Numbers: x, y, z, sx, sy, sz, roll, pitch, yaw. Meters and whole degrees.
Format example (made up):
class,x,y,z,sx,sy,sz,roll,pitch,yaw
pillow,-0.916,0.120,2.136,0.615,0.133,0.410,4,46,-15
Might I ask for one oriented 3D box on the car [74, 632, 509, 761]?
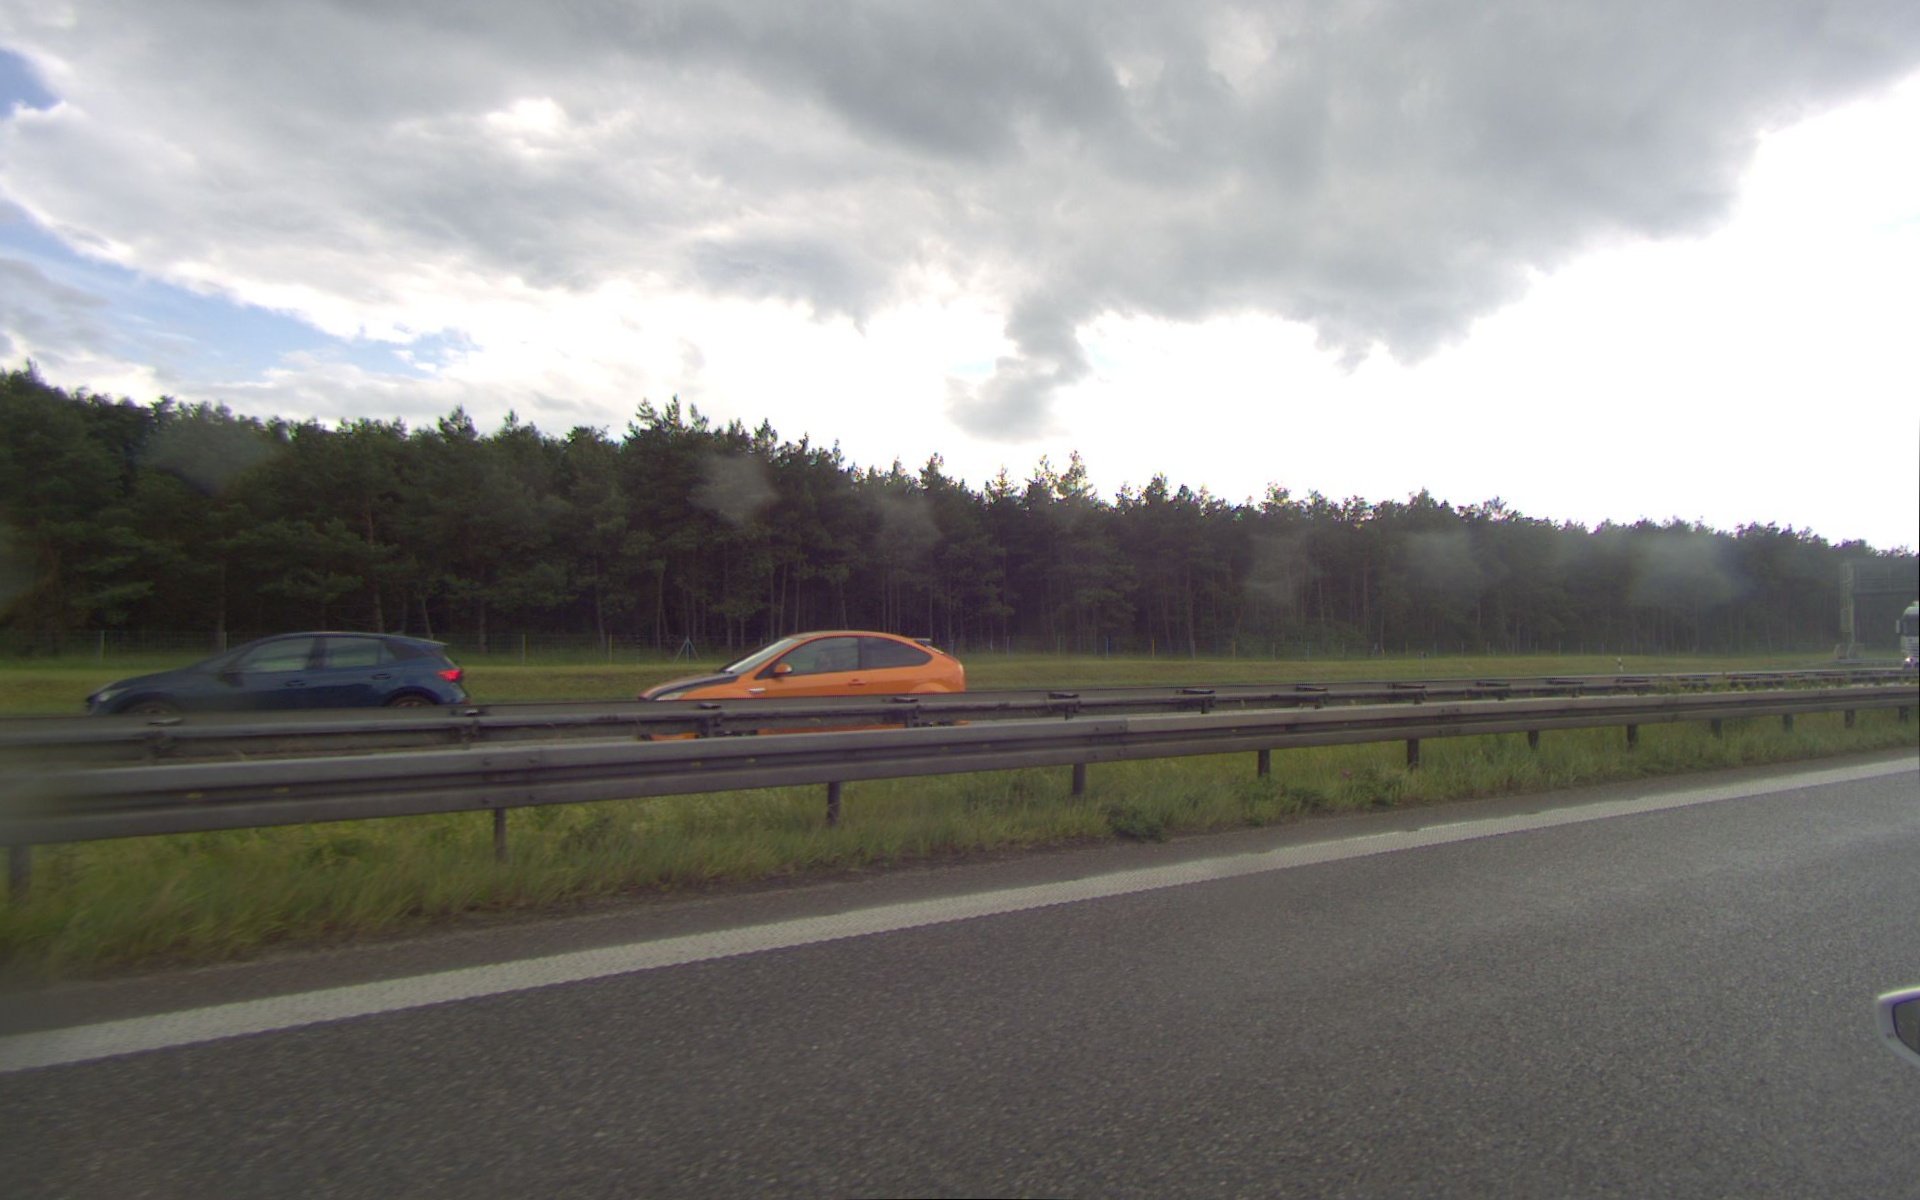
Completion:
class,x,y,z,sx,sy,sz,roll,pitch,yaw
car,-8.726,1.193,13.625,4.597,1.475,1.907,1,-2,-30

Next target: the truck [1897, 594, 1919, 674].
class,x,y,z,sx,sy,sz,roll,pitch,yaw
truck,53.731,1.878,55.048,4.652,4.294,2.129,2,0,-30

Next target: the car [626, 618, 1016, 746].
class,x,y,z,sx,sy,sz,roll,pitch,yaw
car,-1.716,0.954,12.872,4.597,1.382,1.907,1,-2,-30

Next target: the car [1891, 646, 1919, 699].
class,x,y,z,sx,sy,sz,roll,pitch,yaw
car,33.069,2.413,33.534,4.423,1.684,1.849,1,-1,-32
